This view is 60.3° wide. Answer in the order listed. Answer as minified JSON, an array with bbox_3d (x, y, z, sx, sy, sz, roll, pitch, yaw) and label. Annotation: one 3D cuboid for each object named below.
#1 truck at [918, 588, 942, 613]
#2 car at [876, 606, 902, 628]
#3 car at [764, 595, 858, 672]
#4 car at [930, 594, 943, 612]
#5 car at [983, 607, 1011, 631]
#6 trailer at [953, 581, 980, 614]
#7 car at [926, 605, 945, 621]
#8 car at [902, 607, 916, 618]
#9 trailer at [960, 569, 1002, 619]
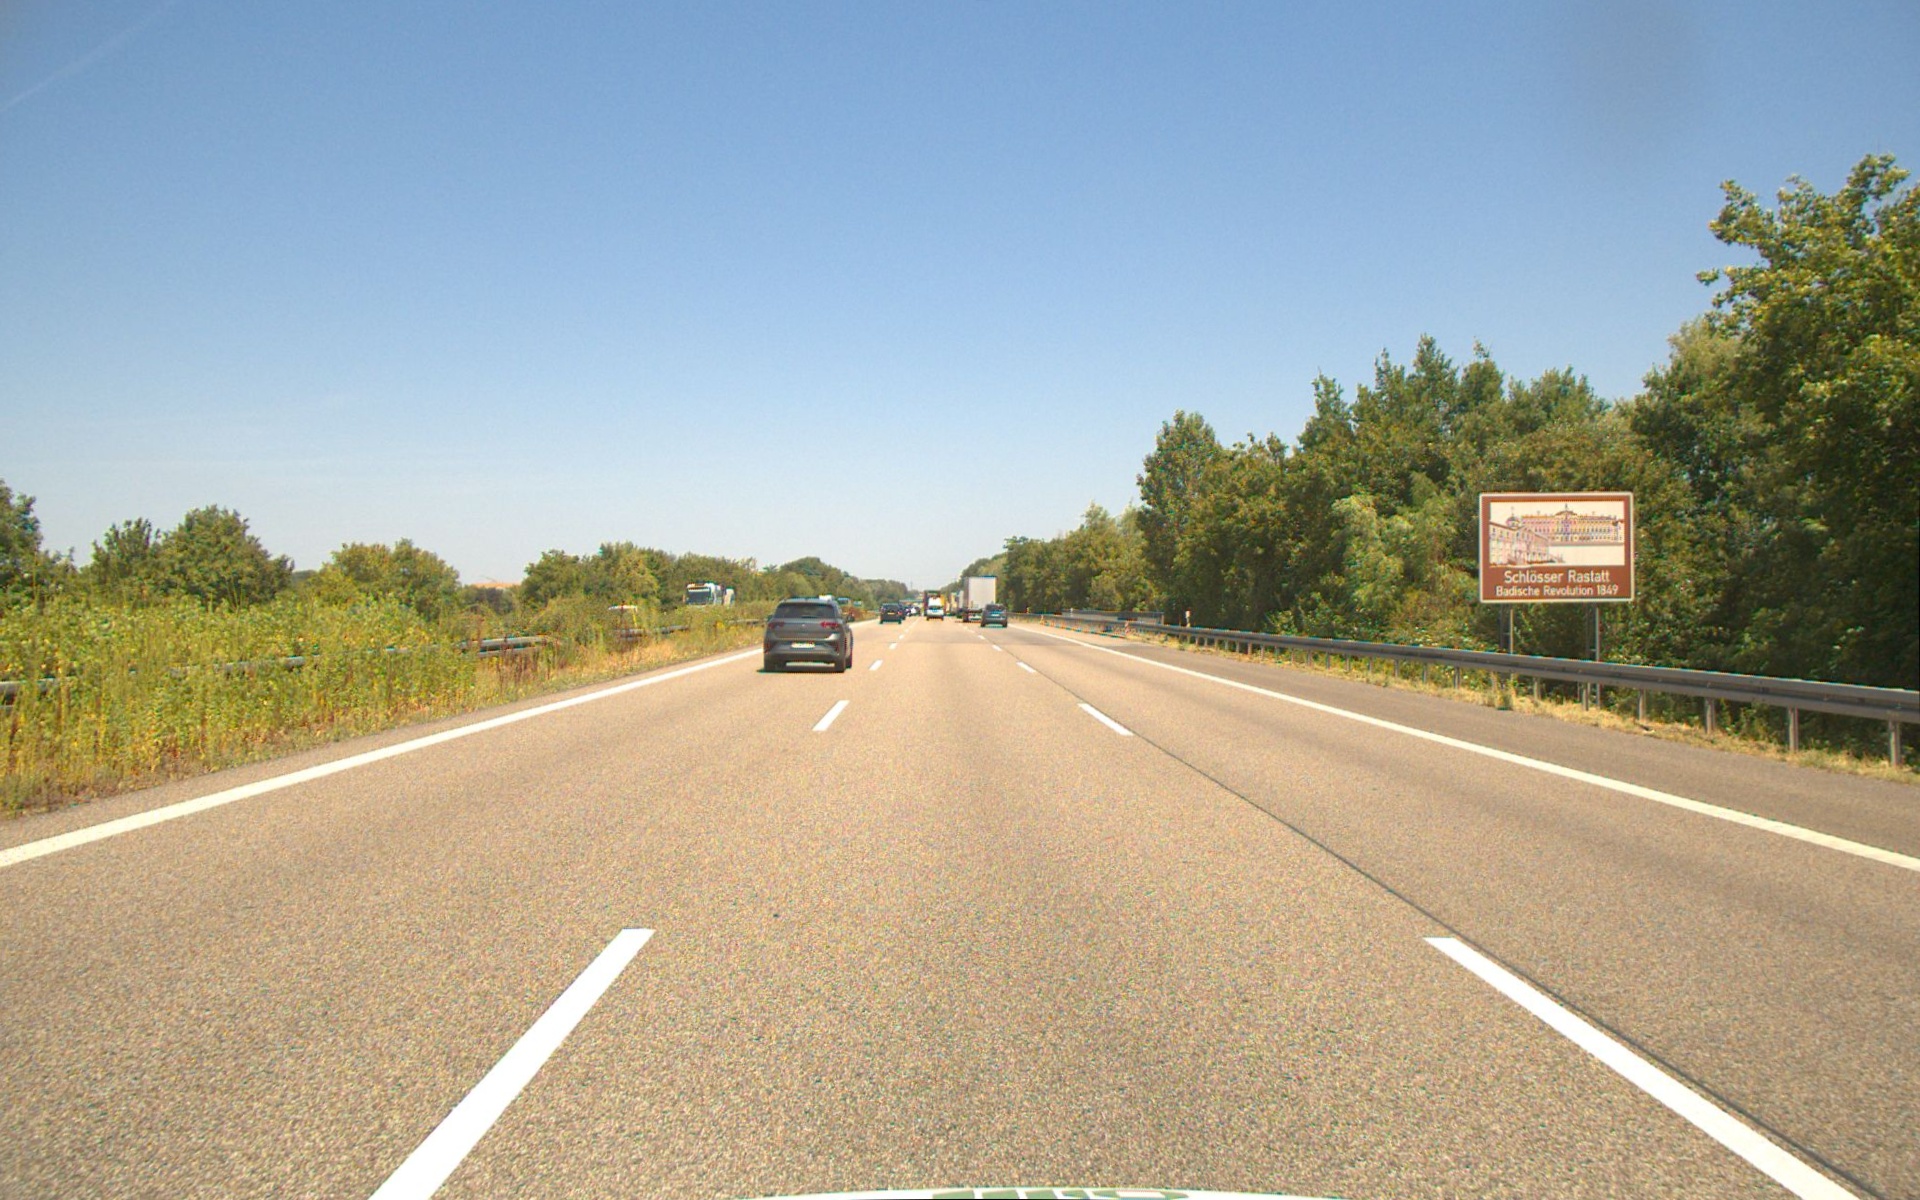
[{"bbox_3d":[-4.617,0.027,258.767,3.592,3.791,7.108,1,0,0],"label":"truck"},{"bbox_3d":[-5.400,1.287,126.797,1.862,1.557,4.083,1,0,-1],"label":"car"},{"bbox_3d":[-3.236,0.690,36.594,1.723,1.557,4.284,1,0,-1],"label":"car"},{"bbox_3d":[-3.345,0.428,234.590,1.869,2.467,4.284,1,0,-1],"label":"car"},{"bbox_3d":[2.616,1.302,116.809,1.807,1.657,4.134,0,0,-1],"label":"car"},{"bbox_3d":[0.786,-0.334,211.054,3.059,3.995,9.932,1,0,-2],"label":"trailer"},{"bbox_3d":[-2.528,1.292,167.781,1.862,1.557,4.083,1,0,-1],"label":"car"},{"bbox_3d":[-7.269,1.759,236.733,1.869,1.557,4.284,1,0,-1],"label":"car"},{"bbox_3d":[1.825,-0.456,150.524,3.365,4.254,13.629,1,-1,-1],"label":"trailer"}]
